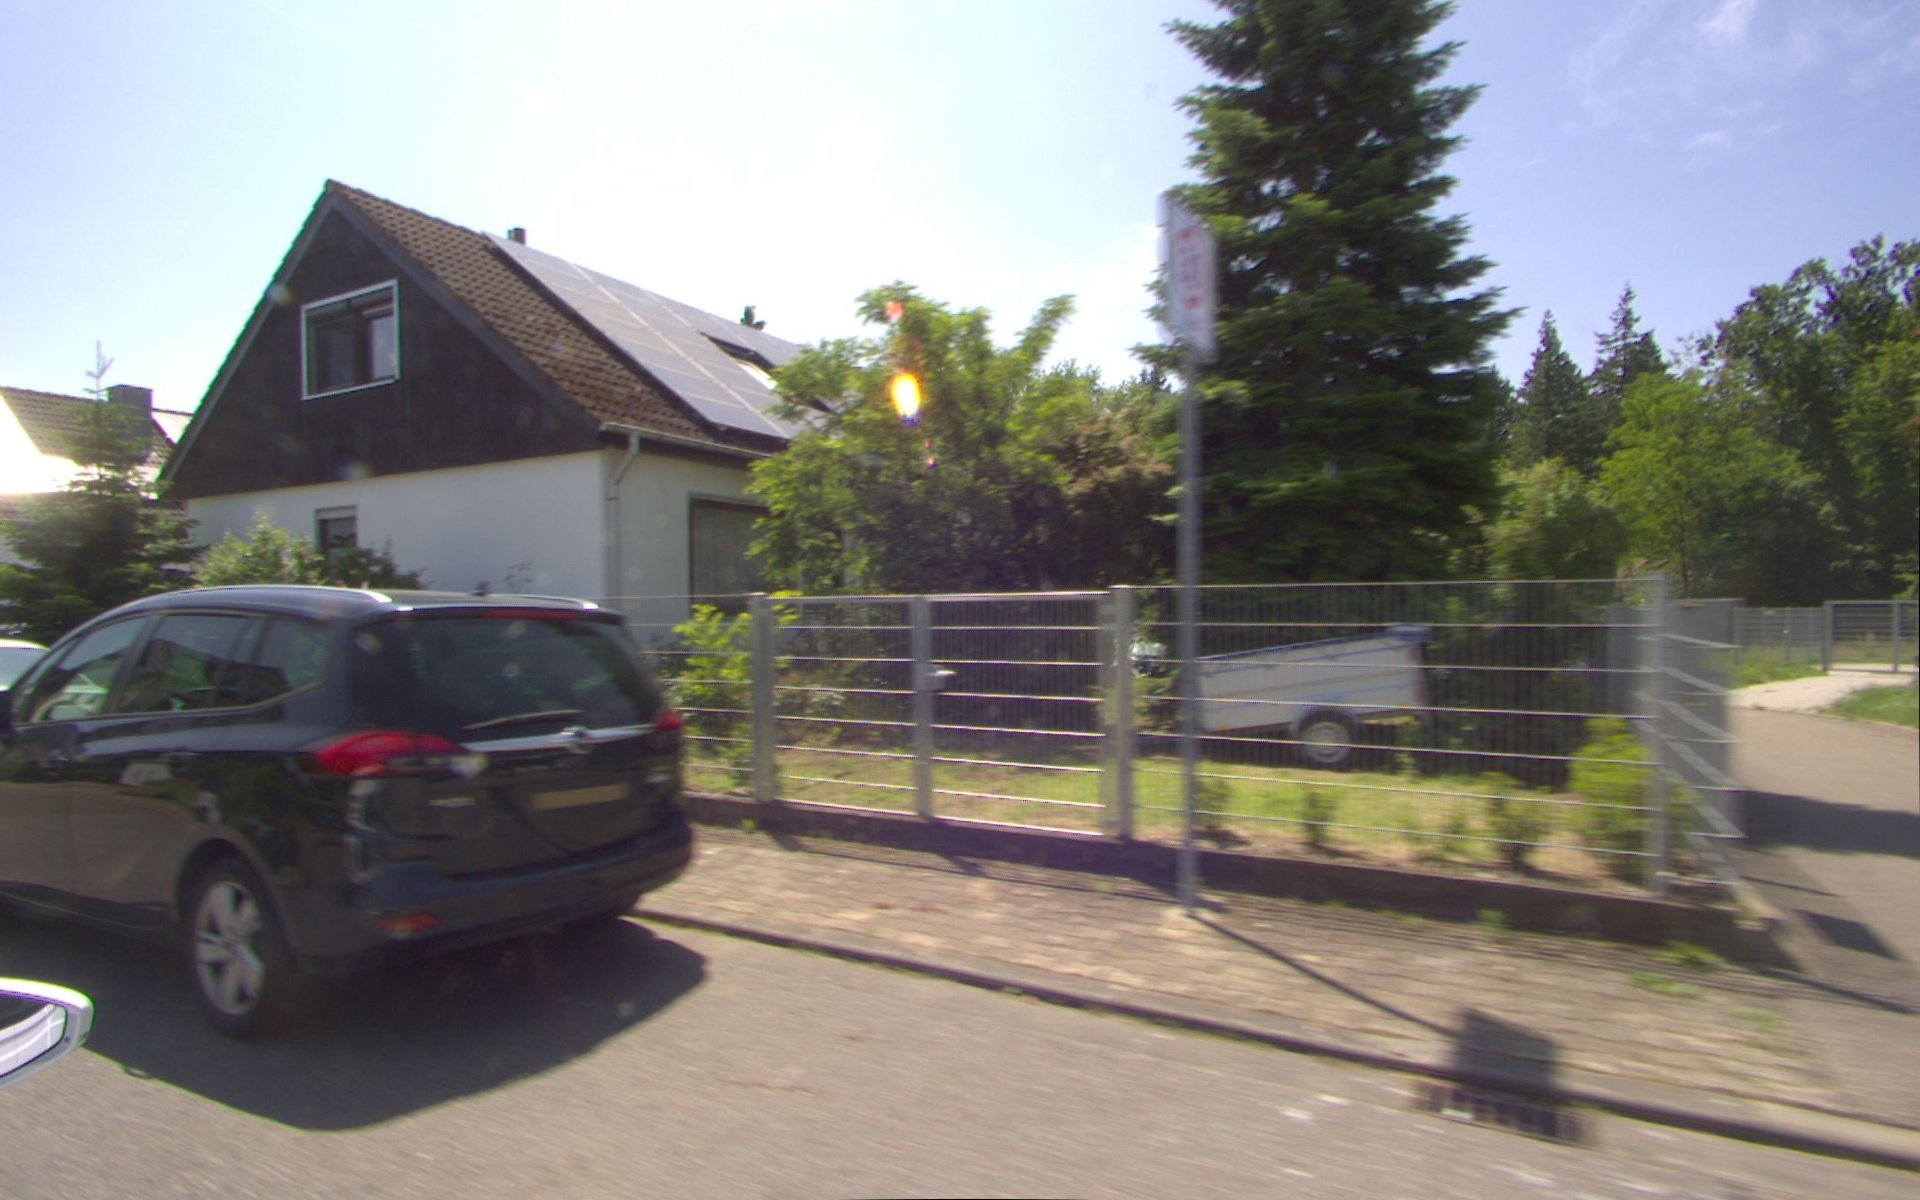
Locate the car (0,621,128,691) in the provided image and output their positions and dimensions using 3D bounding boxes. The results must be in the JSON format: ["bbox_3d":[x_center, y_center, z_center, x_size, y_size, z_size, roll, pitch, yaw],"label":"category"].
[{"bbox_3d":[-20.435,1.141,20.776,1.923,1.414,4.531,0,-1,31],"label":"car"}]

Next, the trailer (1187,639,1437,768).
[{"bbox_3d":[3.409,0.954,9.806,2.184,1.098,1.104,0,0,21],"label":"trailer"}]

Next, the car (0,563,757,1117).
[{"bbox_3d":[-3.441,0.751,5.052,4.612,1.684,1.960,0,0,30],"label":"car"}]

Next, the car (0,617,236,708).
[{"bbox_3d":[-16.393,1.091,18.700,1.969,1.505,4.237,0,-1,28],"label":"car"}]

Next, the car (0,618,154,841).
[{"bbox_3d":[-8.232,0.884,7.747,4.272,1.479,1.684,-1,0,30],"label":"car"}]
